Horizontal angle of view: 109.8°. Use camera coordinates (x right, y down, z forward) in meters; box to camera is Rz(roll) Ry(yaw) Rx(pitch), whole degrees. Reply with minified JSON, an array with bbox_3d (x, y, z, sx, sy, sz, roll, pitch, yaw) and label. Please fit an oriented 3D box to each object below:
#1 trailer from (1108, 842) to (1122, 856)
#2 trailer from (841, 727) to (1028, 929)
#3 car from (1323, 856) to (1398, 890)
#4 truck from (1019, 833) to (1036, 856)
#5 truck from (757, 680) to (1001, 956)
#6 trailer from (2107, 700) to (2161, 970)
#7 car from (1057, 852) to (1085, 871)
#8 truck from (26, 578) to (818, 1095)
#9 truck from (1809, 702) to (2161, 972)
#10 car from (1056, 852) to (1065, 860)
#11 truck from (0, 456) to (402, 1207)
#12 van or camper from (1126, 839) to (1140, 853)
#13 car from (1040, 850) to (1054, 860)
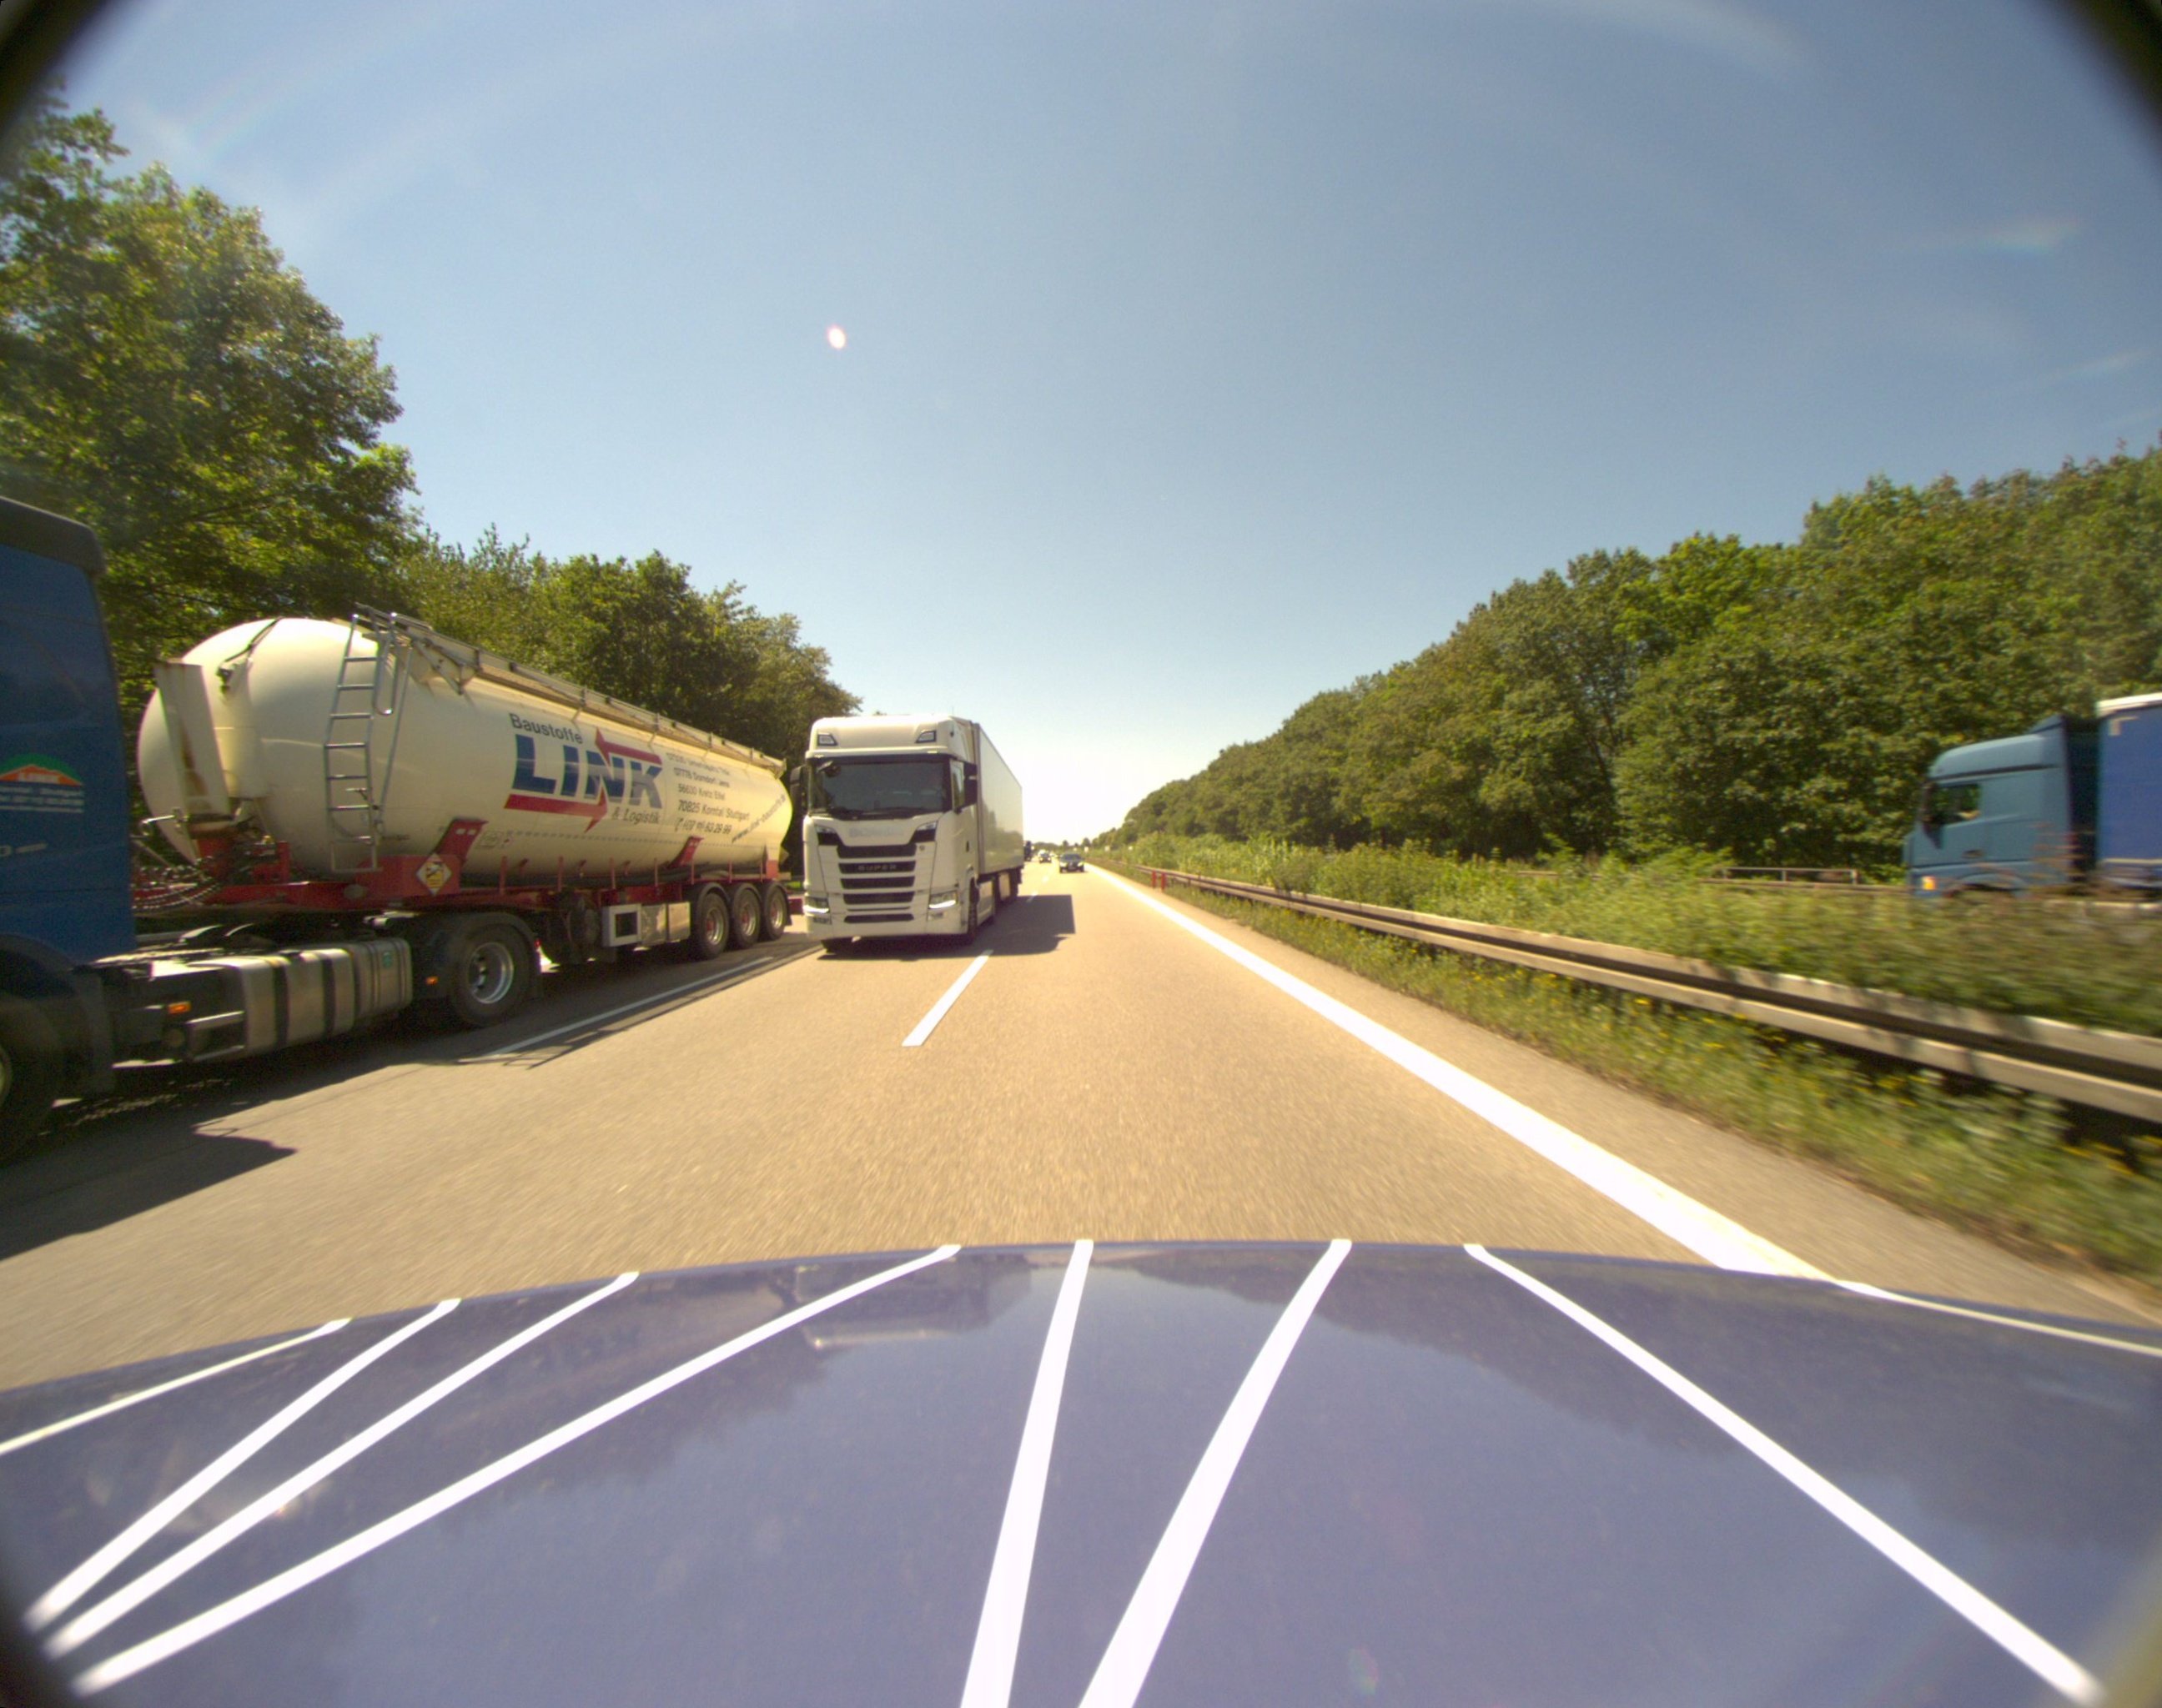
[{"bbox_3d":[10.375,-1.534,233.139,2.917,3.855,13.638,-1,0,-3],"label":"trailer"},{"bbox_3d":[-3.459,-0.542,21.876,3.232,4.119,12.348,-1,0,-2],"label":"trailer"},{"bbox_3d":[12.849,0.823,35.229,1.713,1.407,4.341,0,1,-2],"label":"car"},{"bbox_3d":[-10.189,-1.697,145.127,2.798,4.180,10.803,-1,0,-3],"label":"truck"},{"bbox_3d":[-3.296,-0.553,13.809,3.237,4.133,4.558,-1,0,-2],"label":"truck"},{"bbox_3d":[17.420,-0.243,4.844,2.850,3.948,13.804,-1,1,-1],"label":"trailer"},{"bbox_3d":[-0.798,0.543,57.455,1.887,1.341,4.466,-1,0,-3],"label":"car"},{"bbox_3d":[-7.018,-0.176,11.291,2.449,4.020,10.540,-2,1,0],"label":"truck"},{"bbox_3d":[17.206,-0.283,13.508,2.824,3.948,5.871,-1,1,-2],"label":"truck"},{"bbox_3d":[-5.058,0.477,186.515,1.999,2.002,3.998,-1,0,-4],"label":"car"},{"bbox_3d":[-7.000,-0.104,4.307,2.455,4.015,4.071,-2,1,0],"label":"truck"},{"bbox_3d":[11.955,-1.852,175.305,2.426,3.094,9.084,-2,1,-2],"label":"van or camper"},{"bbox_3d":[-5.131,0.087,112.832,1.842,1.409,4.495,-1,0,-5],"label":"car"}]
